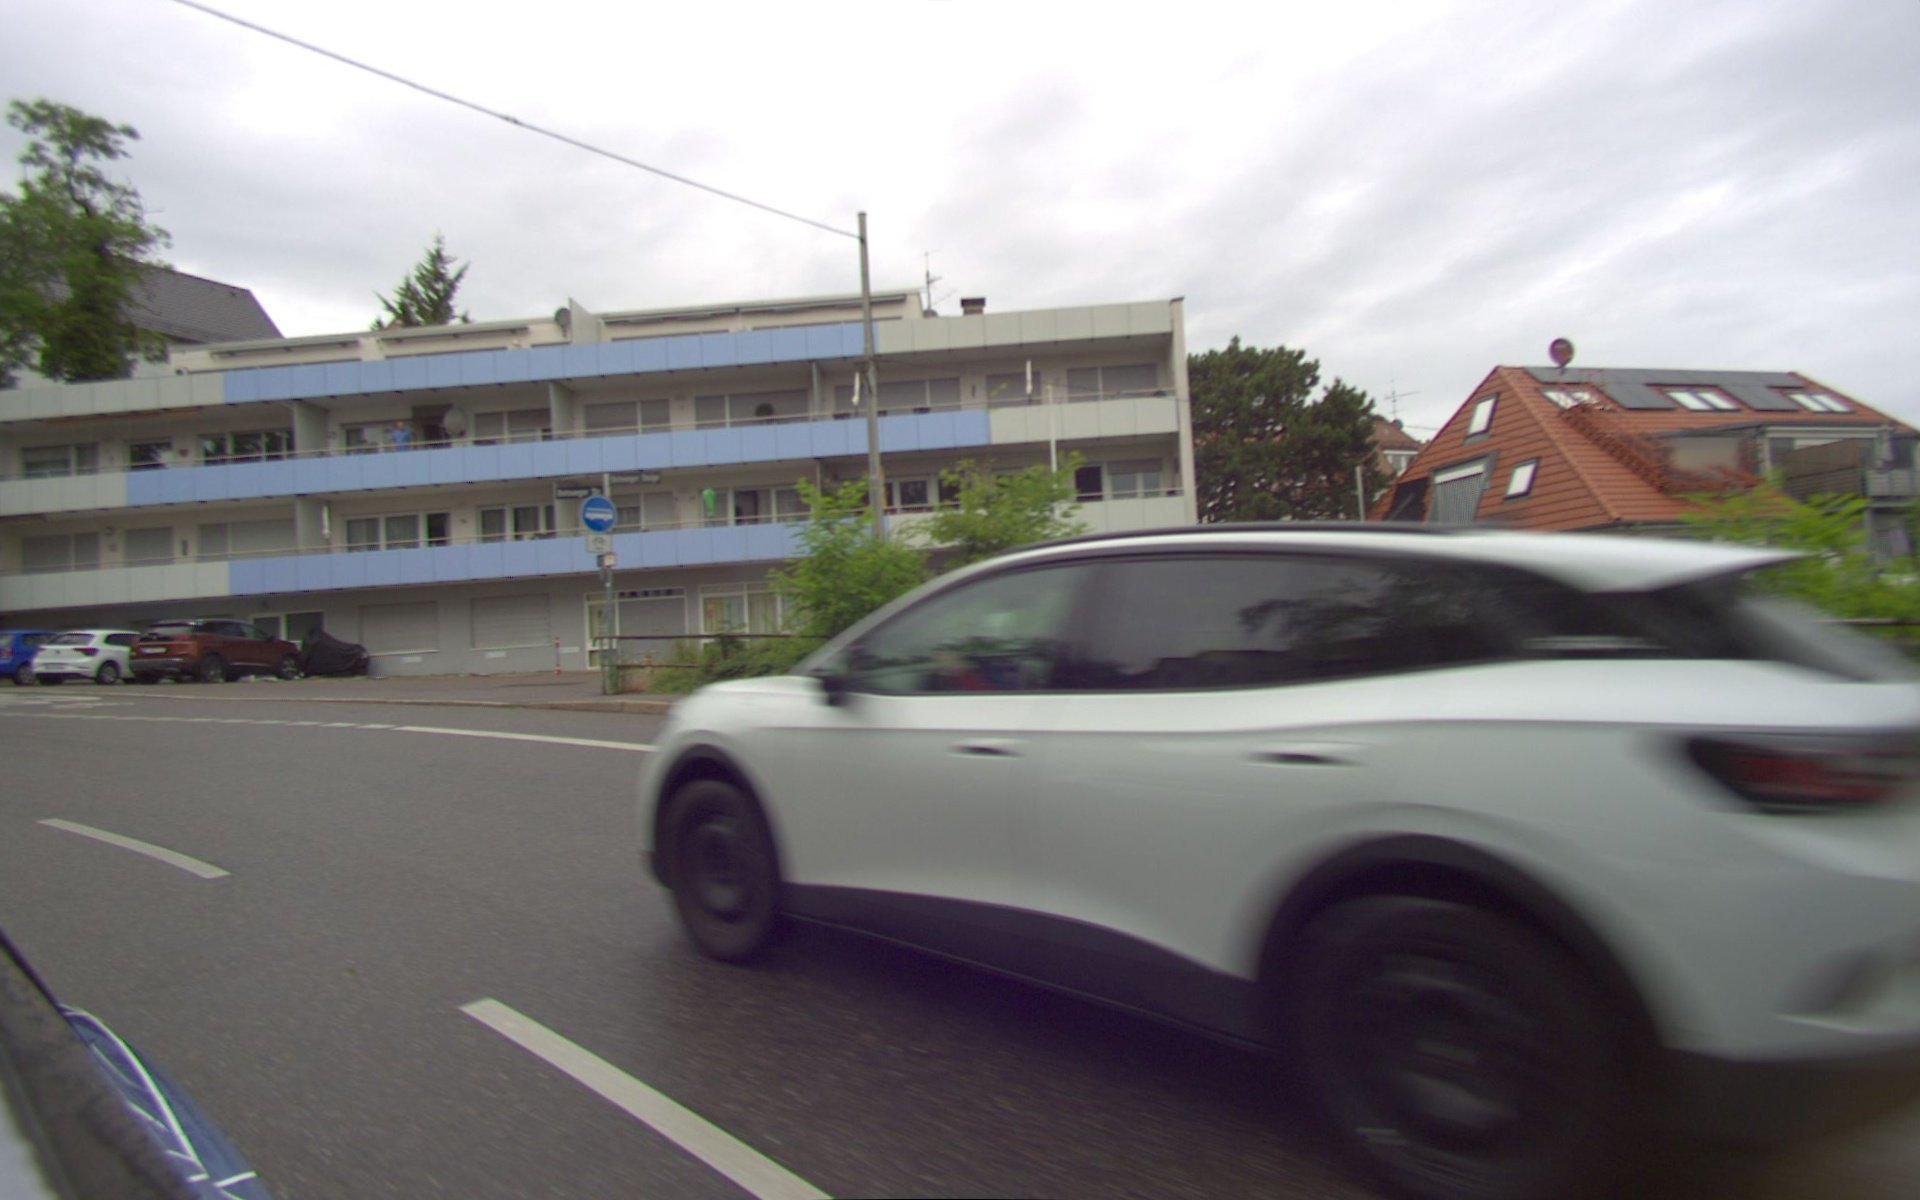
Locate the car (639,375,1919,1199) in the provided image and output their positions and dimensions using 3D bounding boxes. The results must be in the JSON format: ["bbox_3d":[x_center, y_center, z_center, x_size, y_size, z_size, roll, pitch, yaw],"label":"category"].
[{"bbox_3d":[0.816,0.513,3.593,4.284,1.619,1.806,-2,-3,42],"label":"car"}]

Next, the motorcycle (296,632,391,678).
[{"bbox_3d":[-18.078,1.623,29.720,2.297,1.320,0.575,1,-1,-12],"label":"motorcycle"}]

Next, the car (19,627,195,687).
[{"bbox_3d":[-22.627,1.547,27.017,1.685,1.456,3.438,-1,-4,3],"label":"car"}]

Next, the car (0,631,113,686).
[{"bbox_3d":[-25.139,1.589,27.366,1.614,1.401,3.442,0,-4,-1],"label":"car"}]

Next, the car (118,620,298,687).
[{"bbox_3d":[-19.246,1.384,26.135,1.692,1.562,3.934,-1,-3,1],"label":"car"}]
